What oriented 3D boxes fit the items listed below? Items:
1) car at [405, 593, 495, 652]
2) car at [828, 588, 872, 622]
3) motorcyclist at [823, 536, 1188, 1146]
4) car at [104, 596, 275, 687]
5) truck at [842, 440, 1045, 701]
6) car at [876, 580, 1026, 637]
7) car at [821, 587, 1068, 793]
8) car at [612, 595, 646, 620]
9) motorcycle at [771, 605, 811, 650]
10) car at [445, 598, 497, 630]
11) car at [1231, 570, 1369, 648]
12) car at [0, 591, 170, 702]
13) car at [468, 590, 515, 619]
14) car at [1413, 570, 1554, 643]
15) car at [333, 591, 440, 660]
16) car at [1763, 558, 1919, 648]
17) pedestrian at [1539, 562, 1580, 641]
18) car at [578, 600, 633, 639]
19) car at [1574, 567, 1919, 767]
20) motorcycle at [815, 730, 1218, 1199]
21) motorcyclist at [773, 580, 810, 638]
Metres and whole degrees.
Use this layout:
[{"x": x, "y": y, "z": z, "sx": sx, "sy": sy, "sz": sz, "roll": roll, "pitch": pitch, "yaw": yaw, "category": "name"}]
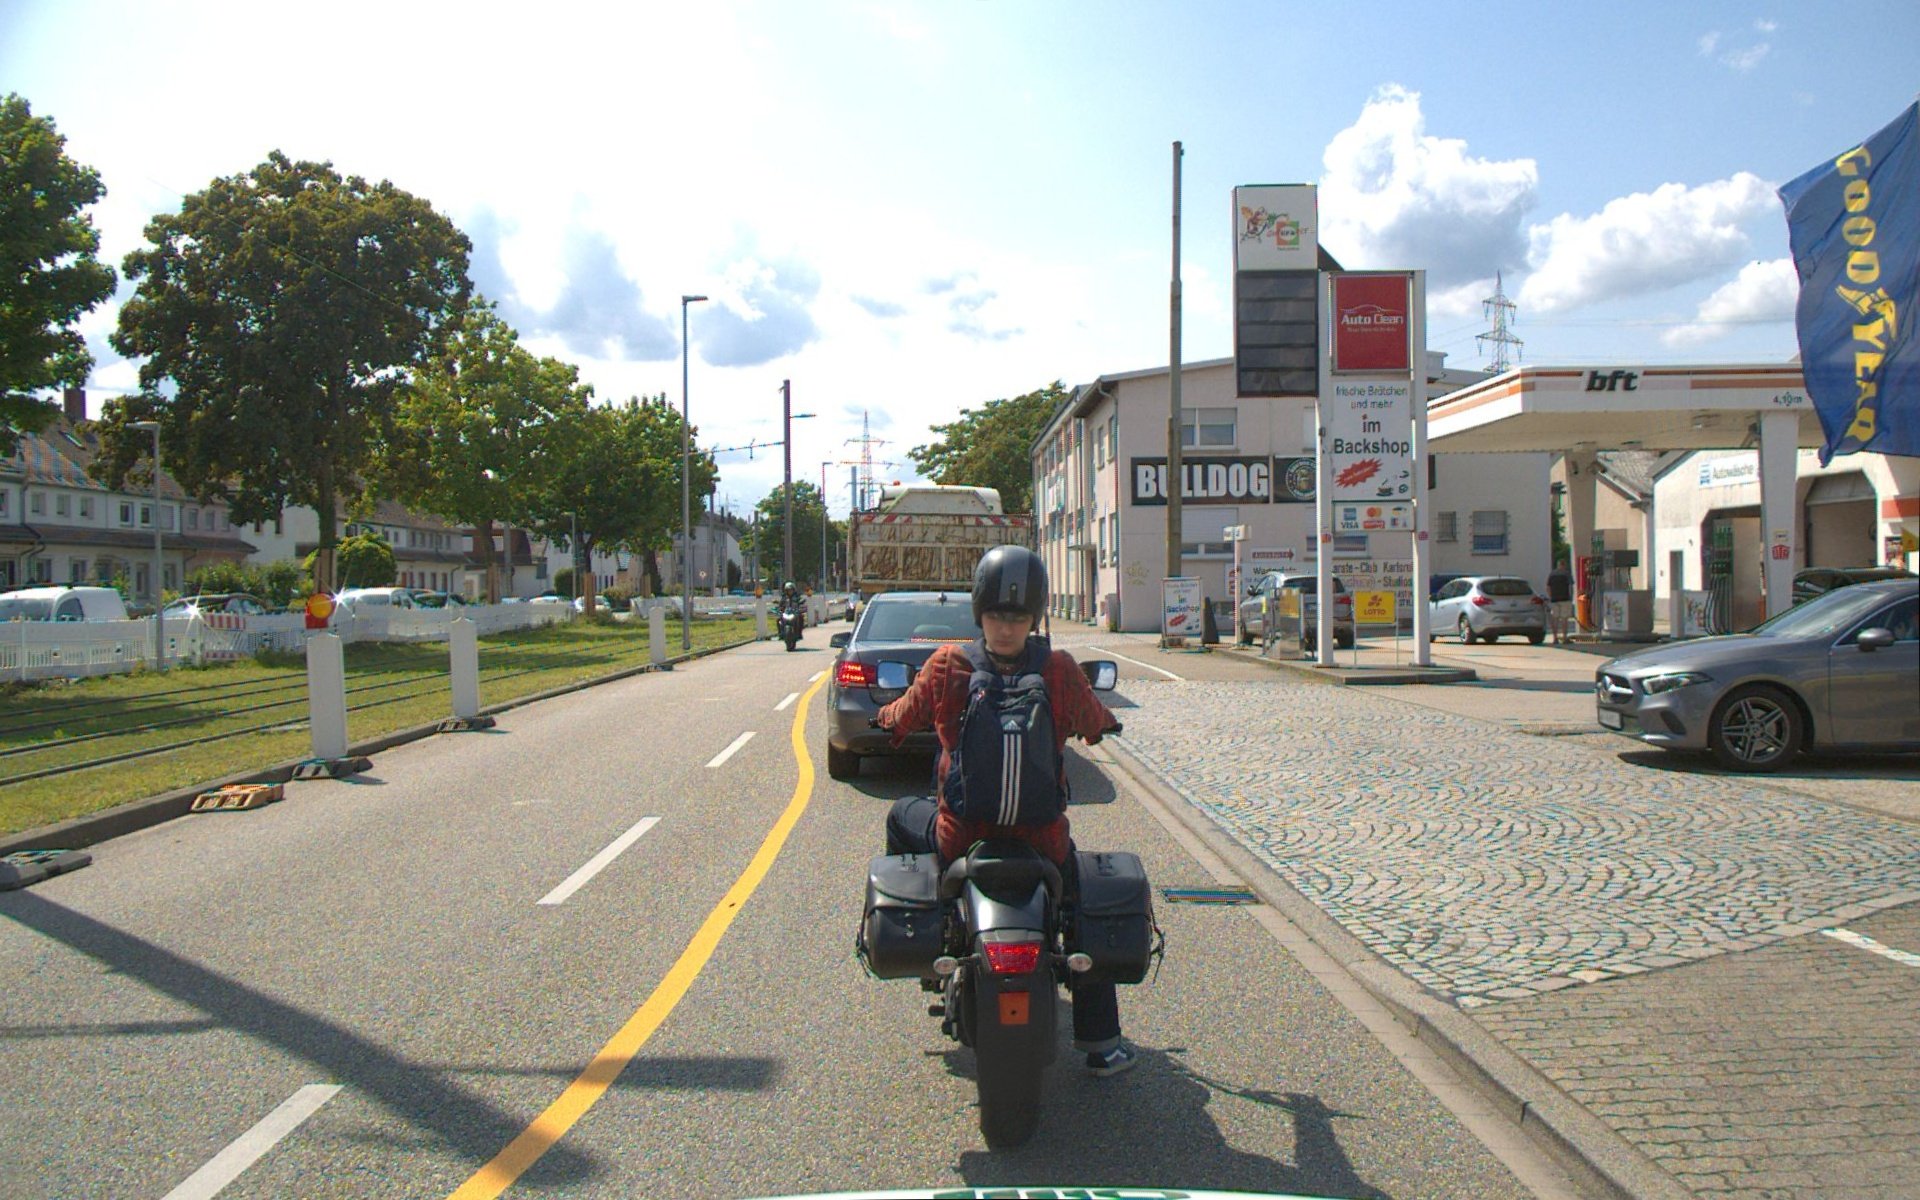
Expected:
[{"x": -16.975, "y": 0.703, "z": 55.259, "sx": 1.740, "sy": 1.837, "sz": 4.127, "roll": -1, "pitch": 0, "yaw": -1, "category": "car"}, {"x": -5.171, "y": 0.207, "z": 78.341, "sx": 1.786, "sy": 1.478, "sz": 4.323, "roll": -2, "pitch": 0, "yaw": -1, "category": "car"}, {"x": 0.116, "y": 0.645, "z": 5.016, "sx": 0.959, "sy": 1.630, "sz": 1.087, "roll": -1, "pitch": 0, "yaw": -1, "category": "motorcyclist"}, {"x": -16.677, "y": 0.843, "z": 36.024, "sx": 1.740, "sy": 1.805, "sz": 4.227, "roll": -1, "pitch": 0, "yaw": -1, "category": "car"}, {"x": -0.271, "y": -0.422, "z": 25.592, "sx": 2.585, "sy": 3.354, "sz": 8.055, "roll": -1, "pitch": 0, "yaw": -1, "category": "truck"}, {"x": -0.250, "y": 0.248, "z": 48.411, "sx": 4.140, "sy": 1.570, "sz": 1.674, "roll": -1, "pitch": 0, "yaw": 9, "category": "car"}, {"x": -0.141, "y": 0.647, "z": 14.129, "sx": 1.786, "sy": 1.478, "sz": 3.999, "roll": 1, "pitch": 0, "yaw": -1, "category": "car"}, {"x": -24.965, "y": 0.553, "z": 124.851, "sx": 1.740, "sy": 1.753, "sz": 4.127, "roll": -1, "pitch": 0, "yaw": -1, "category": "car"}, {"x": -4.163, "y": 0.668, "z": 40.904, "sx": 0.851, "sy": 1.039, "sz": 2.243, "roll": -1, "pitch": 0, "yaw": -3, "category": "motorcycle"}, {"x": -28.301, "y": 0.783, "z": 95.833, "sx": 1.740, "sy": 1.753, "sz": 4.127, "roll": -1, "pitch": 0, "yaw": -1, "category": "car"}, {"x": 7.453, "y": 0.180, "z": 36.628, "sx": 1.636, "sy": 1.589, "sz": 4.236, "roll": -1, "pitch": 0, "yaw": -8, "category": "car"}, {"x": -16.442, "y": 0.787, "z": 30.388, "sx": 1.740, "sy": 1.853, "sz": 4.363, "roll": -1, "pitch": 0, "yaw": -1, "category": "car"}, {"x": -29.427, "y": 0.280, "z": 103.951, "sx": 1.740, "sy": 1.753, "sz": 4.127, "roll": -1, "pitch": 0, "yaw": -1, "category": "car"}, {"x": 11.718, "y": 0.123, "z": 37.264, "sx": 1.770, "sy": 1.529, "sz": 3.831, "roll": -1, "pitch": 0, "yaw": -3, "category": "car"}, {"x": -16.944, "y": 0.719, "z": 49.081, "sx": 1.740, "sy": 1.900, "sz": 4.127, "roll": -1, "pitch": 0, "yaw": -1, "category": "car"}, {"x": 16.614, "y": 0.029, "z": 30.318, "sx": 1.770, "sy": 1.529, "sz": 3.832, "roll": -1, "pitch": 0, "yaw": -3, "category": "car"}, {"x": 12.949, "y": 0.034, "z": 35.710, "sx": 0.696, "sy": 1.685, "sz": 0.546, "roll": -1, "pitch": 0, "yaw": 35, "category": "pedestrian"}, {"x": -17.058, "y": 0.914, "z": 79.684, "sx": 1.740, "sy": 1.753, "sz": 4.127, "roll": -1, "pitch": 0, "yaw": -1, "category": "car"}, {"x": 7.160, "y": 0.470, "z": 12.848, "sx": 4.181, "sy": 1.440, "sz": 1.675, "roll": -1, "pitch": 0, "yaw": 7, "category": "car"}, {"x": 0.118, "y": 0.999, "z": 5.321, "sx": 0.959, "sy": 0.913, "sz": 2.653, "roll": -1, "pitch": 0, "yaw": -1, "category": "motorcycle"}, {"x": -4.166, "y": 0.225, "z": 40.927, "sx": 0.851, "sy": 1.402, "sz": 0.800, "roll": -1, "pitch": 0, "yaw": -4, "category": "motorcyclist"}]
